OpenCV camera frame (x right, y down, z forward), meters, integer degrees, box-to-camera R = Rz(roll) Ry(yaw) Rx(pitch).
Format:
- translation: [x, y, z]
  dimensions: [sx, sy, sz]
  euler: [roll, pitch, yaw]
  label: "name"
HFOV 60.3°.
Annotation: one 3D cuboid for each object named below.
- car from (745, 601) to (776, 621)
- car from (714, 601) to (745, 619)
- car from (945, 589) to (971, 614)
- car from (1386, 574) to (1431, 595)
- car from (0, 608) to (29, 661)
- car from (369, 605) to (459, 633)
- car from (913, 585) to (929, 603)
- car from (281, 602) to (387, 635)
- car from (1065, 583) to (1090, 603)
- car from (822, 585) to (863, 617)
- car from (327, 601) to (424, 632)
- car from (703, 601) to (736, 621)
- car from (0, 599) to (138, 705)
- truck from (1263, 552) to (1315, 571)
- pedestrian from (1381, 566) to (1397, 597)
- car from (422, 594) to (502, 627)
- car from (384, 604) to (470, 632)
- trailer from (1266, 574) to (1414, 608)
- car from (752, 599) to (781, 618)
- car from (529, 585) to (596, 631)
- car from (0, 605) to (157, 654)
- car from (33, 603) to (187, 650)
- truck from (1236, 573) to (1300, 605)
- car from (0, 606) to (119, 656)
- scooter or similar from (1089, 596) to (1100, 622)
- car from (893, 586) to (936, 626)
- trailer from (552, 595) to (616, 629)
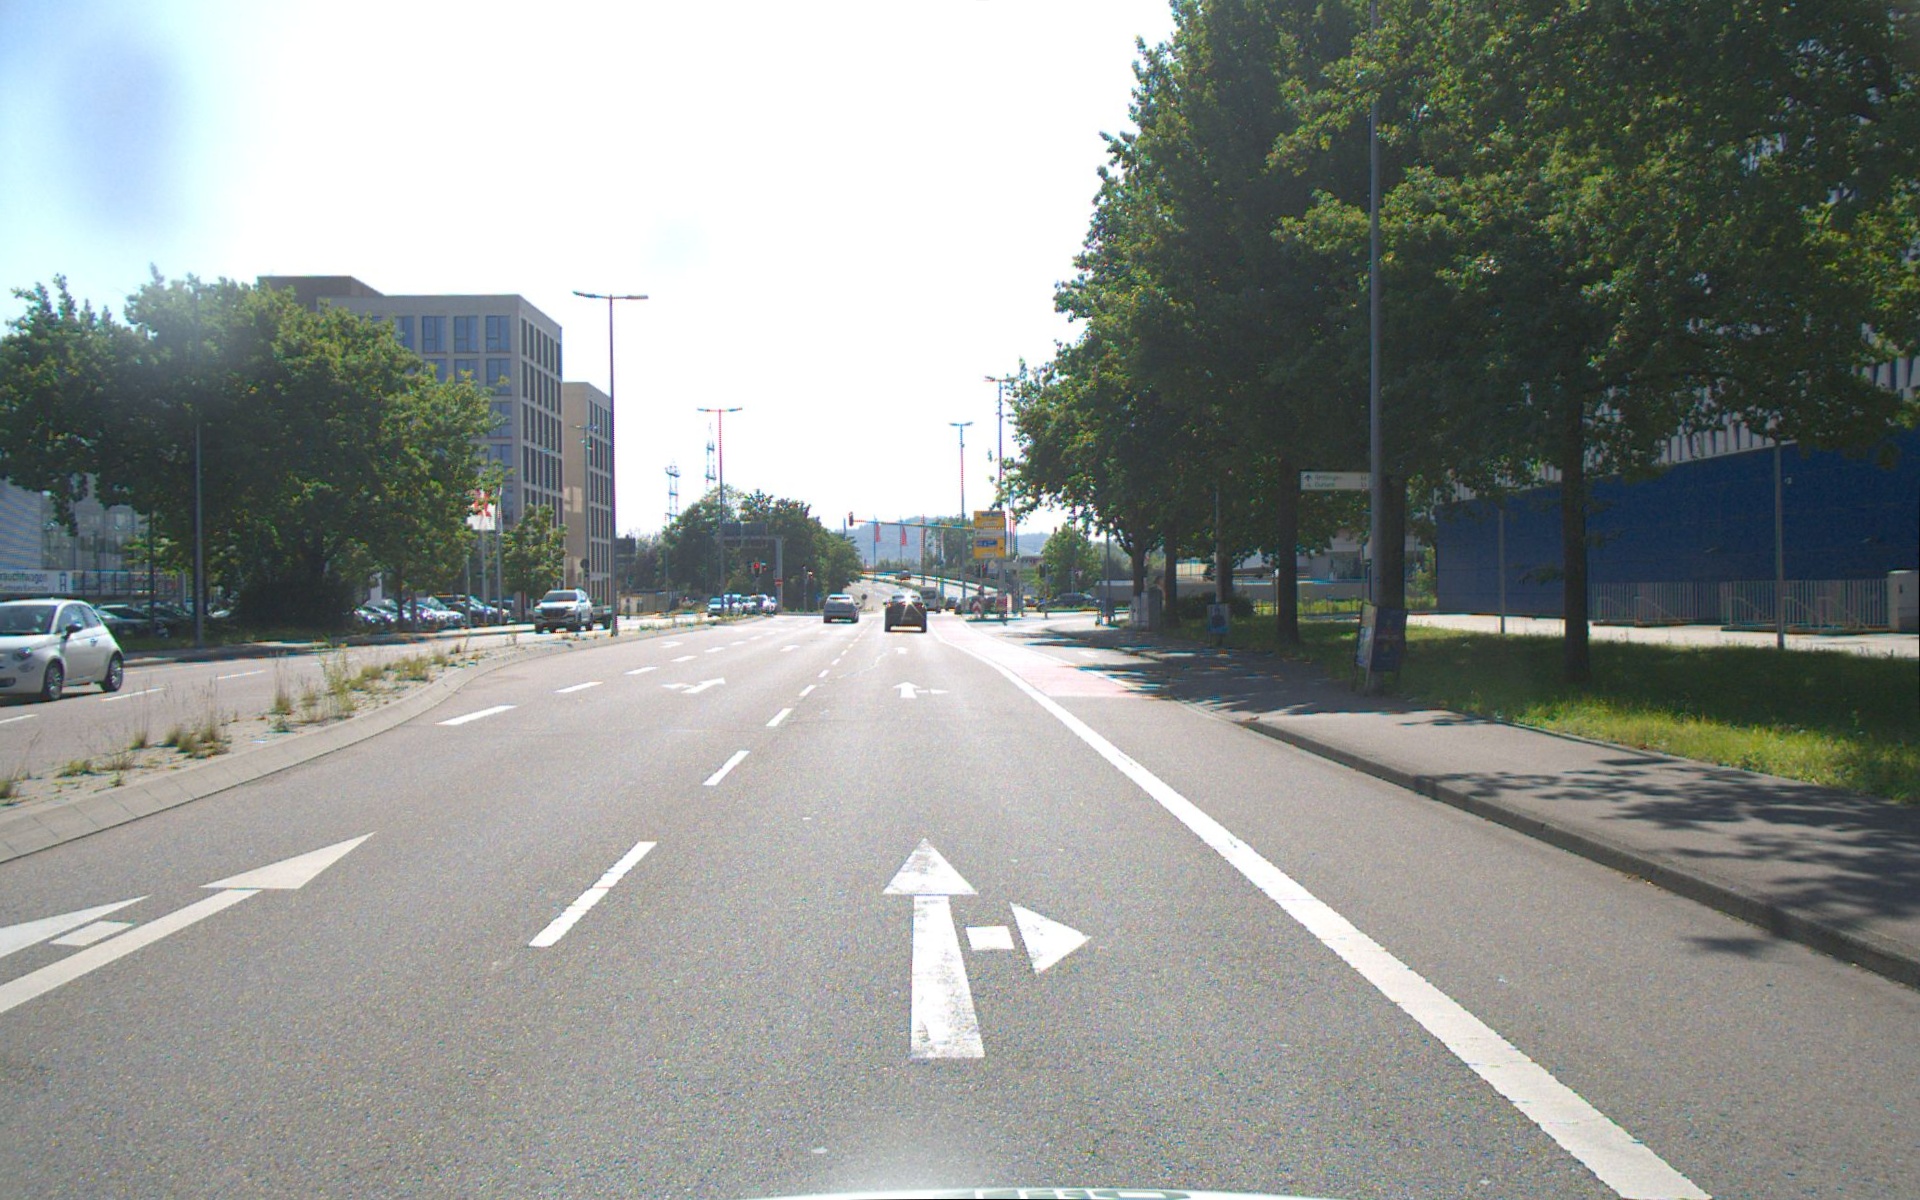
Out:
- translation: [-15.943, 0.874, 132.268]
  dimensions: [1.778, 1.489, 4.002]
  euler: [-1, 0, 3]
  label: "car"
- translation: [-19.298, 0.816, 138.474]
  dimensions: [1.778, 1.489, 4.002]
  euler: [-1, 0, 3]
  label: "car"
- translation: [-0.159, 0.110, 126.003]
  dimensions: [1.723, 1.789, 3.600]
  euler: [1, 1, -4]
  label: "car"
- translation: [45.302, -1.583, 167.024]
  dimensions: [3.907, 2.048, 1.999]
  euler: [1, 1, -3]
  label: "car"
- translation: [-27.188, 0.945, 43.828]
  dimensions: [3.906, 1.400, 1.924]
  euler: [-1, 0, -1]
  label: "car"
- translation: [-27.795, 0.957, 84.266]
  dimensions: [3.907, 1.366, 1.999]
  euler: [-1, 0, -3]
  label: "car"
- translation: [-4.731, -0.718, 200.550]
  dimensions: [1.953, 2.048, 3.980]
  euler: [1, 1, -1]
  label: "car"
- translation: [-27.695, 0.812, 73.257]
  dimensions: [3.907, 1.366, 1.999]
  euler: [-1, 0, -3]
  label: "car"
- translation: [9.037, -0.563, 127.421]
  dimensions: [1.654, 1.382, 4.001]
  euler: [1, 1, 0]
  label: "car"
- translation: [-6.421, 0.056, 90.783]
  dimensions: [1.953, 1.713, 3.999]
  euler: [-1, 0, -1]
  label: "car"
- translation: [-27.708, 0.778, 78.487]
  dimensions: [3.908, 1.366, 1.999]
  euler: [-1, 0, -4]
  label: "car"
- translation: [-19.023, 0.833, 130.997]
  dimensions: [1.852, 1.489, 4.002]
  euler: [-1, 0, 3]
  label: "car"
- translation: [-14.165, 0.761, 25.225]
  dimensions: [1.621, 1.489, 3.547]
  euler: [-2, 0, -4]
  label: "car"
- translation: [39.255, -4.600, 197.483]
  dimensions: [5.788, 2.048, 2.000]
  euler: [1, 1, 0]
  label: "truck"
- translation: [25.169, -1.060, 97.066]
  dimensions: [0.616, 1.801, 0.803]
  euler: [-1, 0, -12]
  label: "pedestrian"
- translation: [-33.860, 0.709, 112.589]
  dimensions: [4.814, 2.086, 2.000]
  euler: [-1, 0, 0]
  label: "car"
- translation: [-27.896, 0.920, 86.652]
  dimensions: [3.907, 1.366, 1.999]
  euler: [-1, 0, -3]
  label: "car"
- translation: [31.153, -0.753, 135.644]
  dimensions: [11.628, 2.512, 2.000]
  euler: [1, 1, 0]
  label: "trailer"
- translation: [-16.290, 0.722, 139.233]
  dimensions: [1.778, 1.489, 4.002]
  euler: [-1, 0, 3]
  label: "car"
- translation: [-17.141, 0.330, 71.582]
  dimensions: [1.954, 1.864, 4.934]
  euler: [-1, 0, -3]
  label: "car"
- translation: [-27.184, 0.892, 50.986]
  dimensions: [3.906, 1.400, 1.924]
  euler: [-1, 0, -1]
  label: "car"
- translation: [-27.240, 0.828, 53.073]
  dimensions: [3.906, 1.400, 1.924]
  euler: [-1, 0, -1]
  label: "car"
- translation: [25.241, -0.878, 135.651]
  dimensions: [4.780, 2.466, 2.001]
  euler: [1, 1, 1]
  label: "truck"
- translation: [-27.233, 0.912, 48.734]
  dimensions: [3.906, 1.400, 1.924]
  euler: [-1, 0, -1]
  label: "car"
- translation: [6.608, 0.417, 81.076]
  dimensions: [0.343, 1.255, 1.312]
  euler: [-1, 0, 12]
  label: "scooter or similar"
- translation: [-2.020, 0.253, 72.729]
  dimensions: [1.771, 1.668, 4.456]
  euler: [-1, 0, -3]
  label: "car"
- translation: [-17.453, 0.527, 76.960]
  dimensions: [1.954, 1.478, 5.768]
  euler: [-1, 0, -3]
  label: "trailer"
